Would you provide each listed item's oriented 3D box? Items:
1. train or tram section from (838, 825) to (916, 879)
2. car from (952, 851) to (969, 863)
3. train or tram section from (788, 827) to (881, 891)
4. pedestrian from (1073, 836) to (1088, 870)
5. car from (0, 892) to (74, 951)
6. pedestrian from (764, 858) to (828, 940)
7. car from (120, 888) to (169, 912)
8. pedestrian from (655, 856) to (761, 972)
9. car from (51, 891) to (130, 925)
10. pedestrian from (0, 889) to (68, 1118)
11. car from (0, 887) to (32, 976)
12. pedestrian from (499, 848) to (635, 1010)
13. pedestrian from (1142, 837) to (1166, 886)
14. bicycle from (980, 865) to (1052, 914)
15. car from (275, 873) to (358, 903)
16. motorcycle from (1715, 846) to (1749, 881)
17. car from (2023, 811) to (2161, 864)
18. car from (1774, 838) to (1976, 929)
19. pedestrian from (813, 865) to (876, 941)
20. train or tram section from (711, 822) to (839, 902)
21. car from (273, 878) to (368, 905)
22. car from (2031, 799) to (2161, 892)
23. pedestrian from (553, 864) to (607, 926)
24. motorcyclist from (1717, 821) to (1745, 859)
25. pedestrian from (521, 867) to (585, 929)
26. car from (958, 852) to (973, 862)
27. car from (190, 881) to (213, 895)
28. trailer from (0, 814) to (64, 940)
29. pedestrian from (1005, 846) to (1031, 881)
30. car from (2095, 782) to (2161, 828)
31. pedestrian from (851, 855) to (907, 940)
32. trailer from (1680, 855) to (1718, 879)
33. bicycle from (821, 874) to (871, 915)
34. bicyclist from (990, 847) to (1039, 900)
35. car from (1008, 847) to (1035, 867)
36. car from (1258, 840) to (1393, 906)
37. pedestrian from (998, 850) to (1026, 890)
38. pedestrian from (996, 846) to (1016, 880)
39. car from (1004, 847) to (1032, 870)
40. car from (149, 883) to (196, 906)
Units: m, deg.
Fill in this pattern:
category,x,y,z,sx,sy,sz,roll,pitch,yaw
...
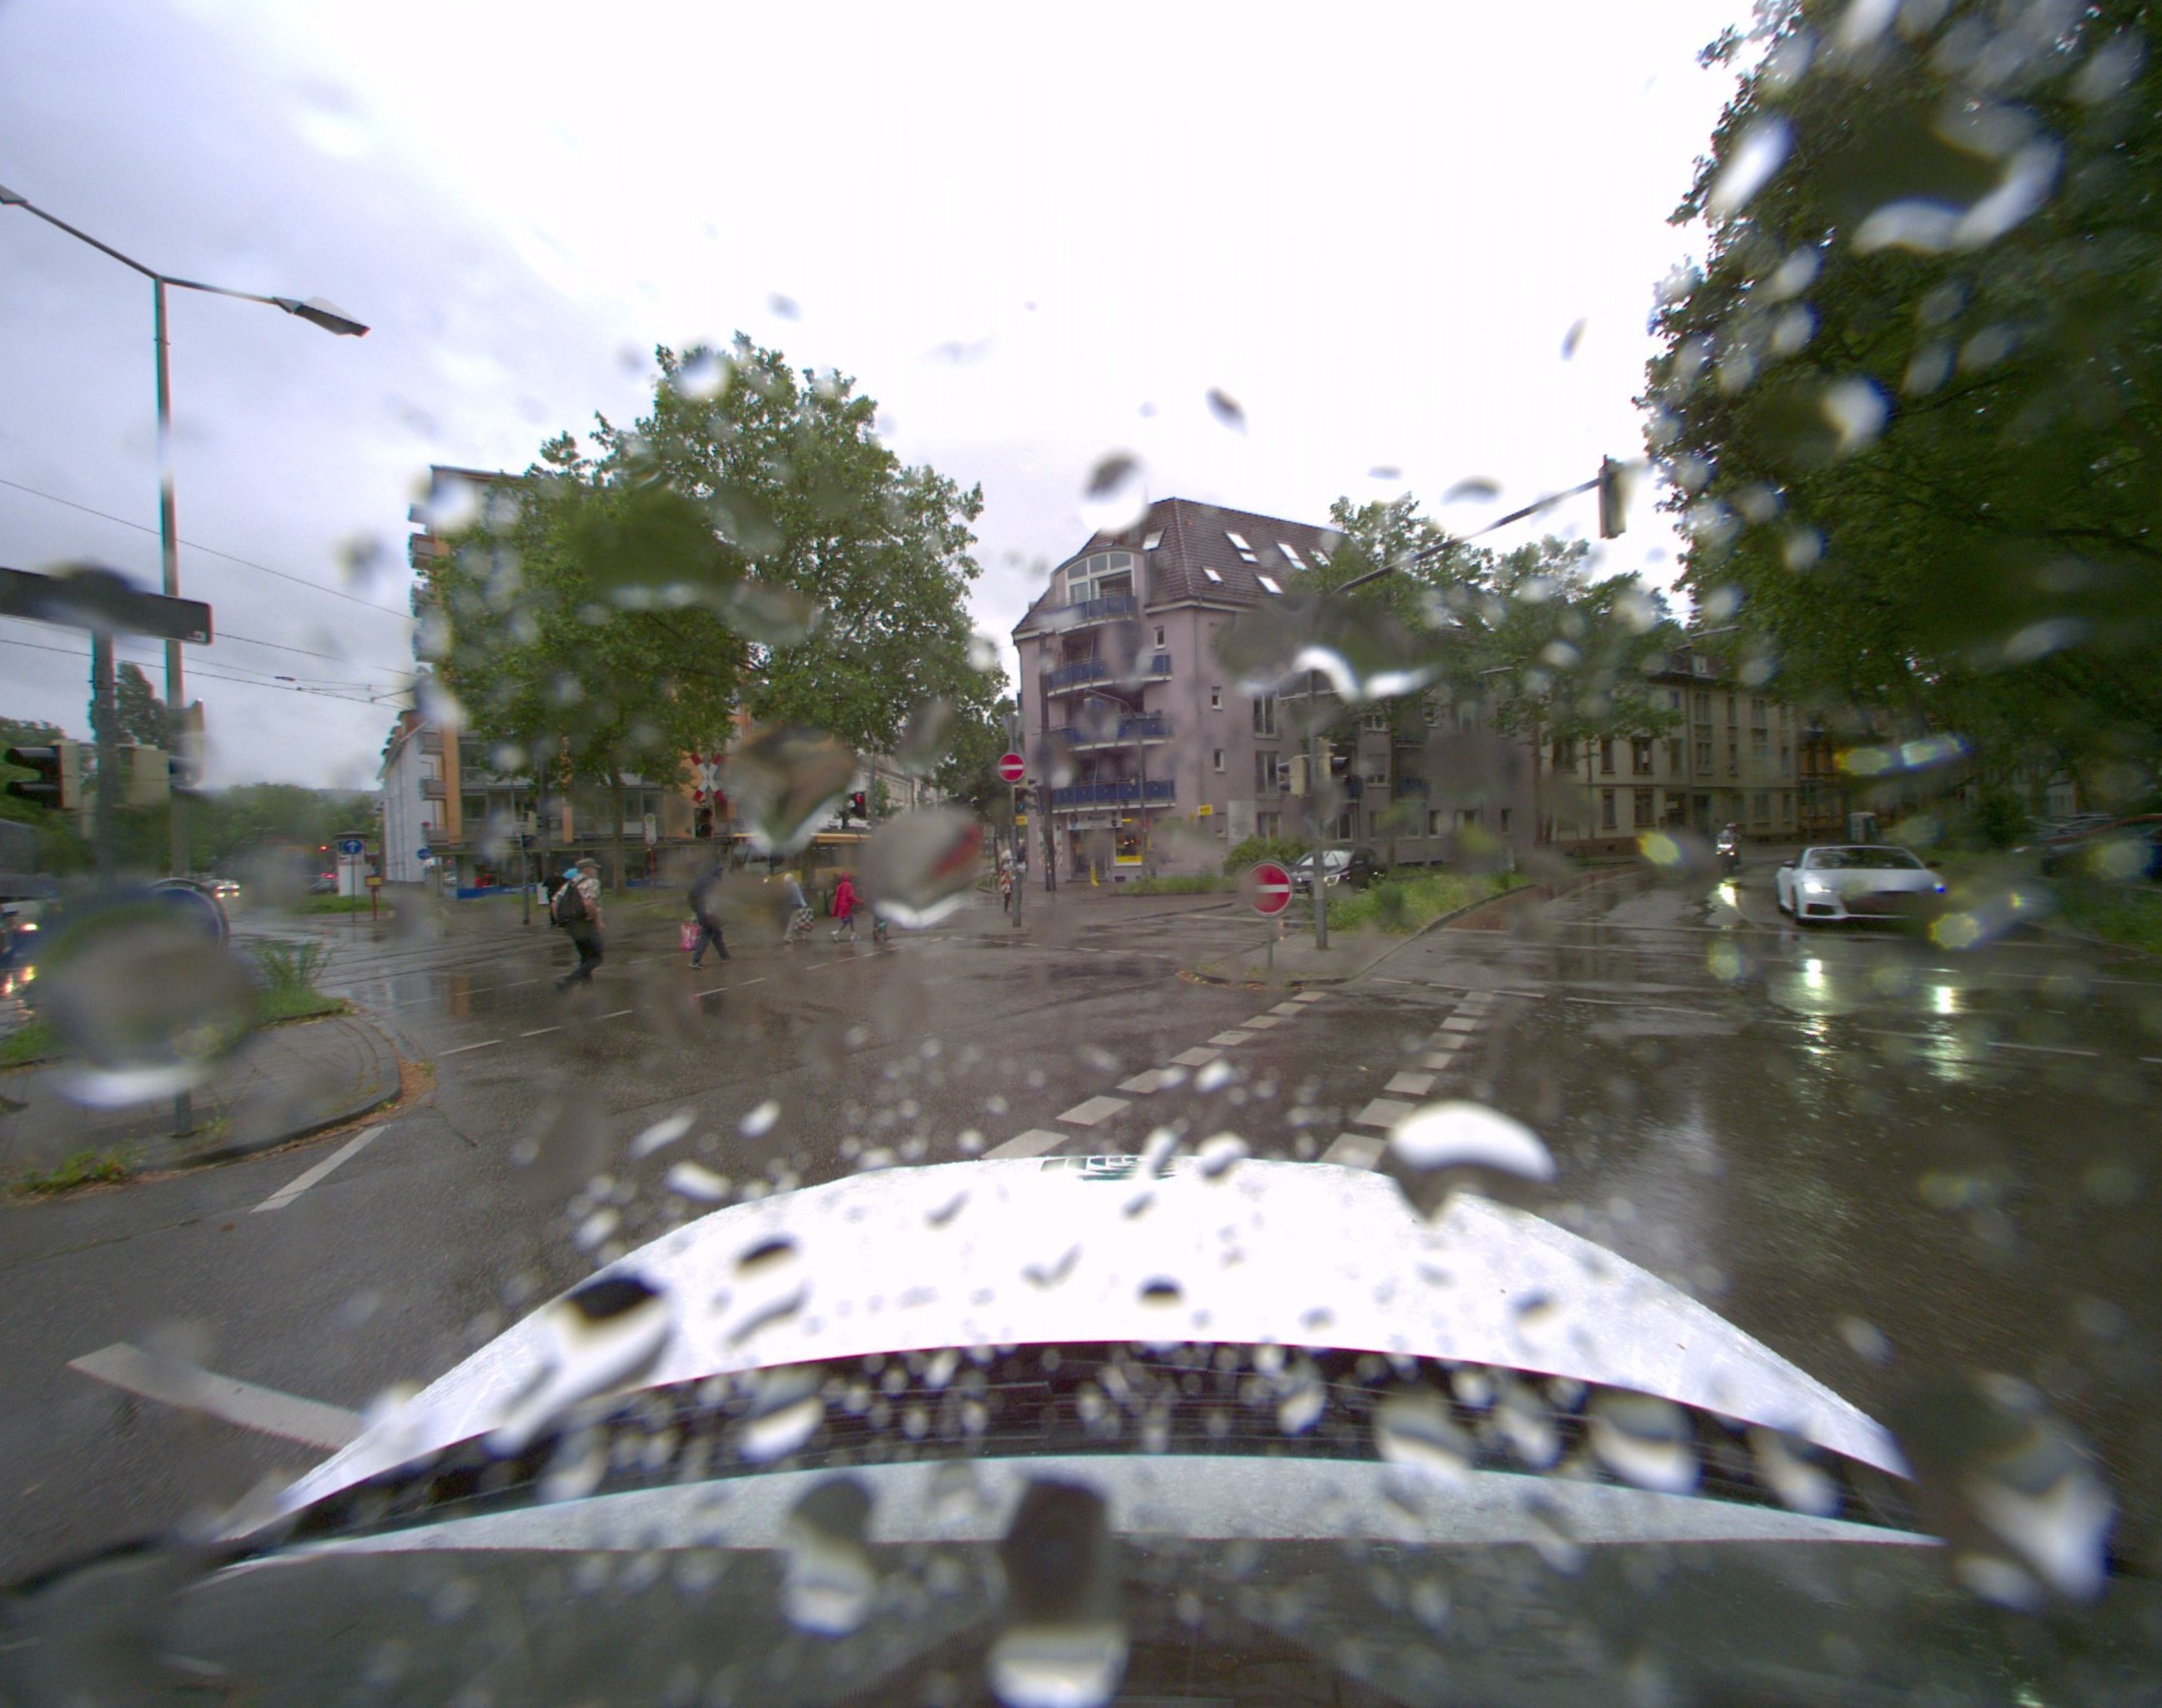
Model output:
category,x,y,z,sx,sy,sz,roll,pitch,yaw
train or tram section,-13.976,-0.172,56.775,2.628,3.351,9.990,-2,0,1
car,-17.412,0.429,117.733,1.989,1.533,3.995,-2,0,-4
train or tram section,-14.162,0.243,47.591,2.628,3.351,8.378,-2,0,1
pedestrian,-0.033,-0.047,38.700,0.467,1.602,0.597,-2,0,26
car,-29.130,1.825,22.233,4.048,1.373,1.714,-1,1,43
pedestrian,-5.690,0.875,16.317,0.874,1.525,1.064,-2,1,-3
car,-62.482,3.023,54.388,1.791,1.403,4.770,-2,0,-45
pedestrian,-5.840,0.904,12.797,0.983,1.686,1.063,-2,1,30
car,-48.828,2.646,40.236,1.742,1.361,4.285,-4,2,-41
pedestrian,-7.940,1.070,5.727,0.634,1.581,0.869,-2,1,30
car,-24.511,1.647,17.518,4.867,1.682,2.093,0,0,41
pedestrian,-6.066,0.852,9.665,0.804,1.781,0.998,-2,1,13
pedestrian,2.783,0.279,31.085,0.634,1.803,0.626,-2,1,35
bicycle,-1.700,0.887,21.101,0.757,1.173,2.017,-4,2,-41
car,-55.684,2.431,59.361,1.920,1.805,4.272,-2,1,43
motorcycle,23.821,0.332,29.785,0.870,1.214,2.088,-2,1,40
car,30.299,-0.488,23.511,1.893,1.422,3.804,-3,2,-32
car,13.356,0.412,13.987,1.878,1.275,4.199,-2,0,36
pedestrian,-4.610,0.947,15.949,0.666,1.381,1.015,-2,1,17
train or tram section,-14.391,0.303,39.225,2.627,3.369,8.381,-2,0,2
car,-51.144,2.482,54.886,4.574,1.470,1.959,-3,1,-43
car,20.327,-0.184,14.179,1.875,1.664,4.573,-2,0,-20
pedestrian,-15.768,1.257,25.621,1.181,1.865,1.368,-2,0,-43
motorcyclist,23.855,-0.525,29.895,0.748,1.351,0.759,-2,0,40
pedestrian,-15.740,1.295,24.304,1.222,1.788,1.044,-2,0,23
car,-17.506,0.407,123.526,1.989,1.397,3.995,-2,0,-4
car,-112.689,4.341,104.366,3.949,1.530,1.792,0,1,40
trailer,-36.680,0.806,25.693,3.473,4.048,14.866,-3,1,-43
pedestrian,-3.343,0.515,43.016,1.166,1.788,0.889,-2,0,-19
car,59.000,-2.675,43.828,2.215,2.401,5.615,-2,0,6
pedestrian,-3.877,0.820,15.688,0.685,1.547,0.764,-2,1,14
trailer,23.195,0.483,30.541,1.014,0.842,1.492,-1,1,42
bicycle,-6.735,1.152,23.436,0.441,1.077,1.628,-2,0,22
bicyclist,-1.727,0.489,21.105,0.747,1.309,1.064,-4,2,-41
car,-5.211,0.233,71.467,1.987,1.673,3.999,-2,1,0
car,6.481,0.425,21.266,1.969,1.461,4.205,-1,1,38
pedestrian,-2.759,0.645,32.836,0.988,1.559,0.784,-2,0,0
pedestrian,-3.947,0.461,42.923,0.950,1.697,0.921,-2,1,-1
car,-5.112,0.350,66.535,1.987,1.673,3.999,-2,1,0
car,-72.083,3.206,64.653,1.931,1.639,4.763,-2,0,-42
